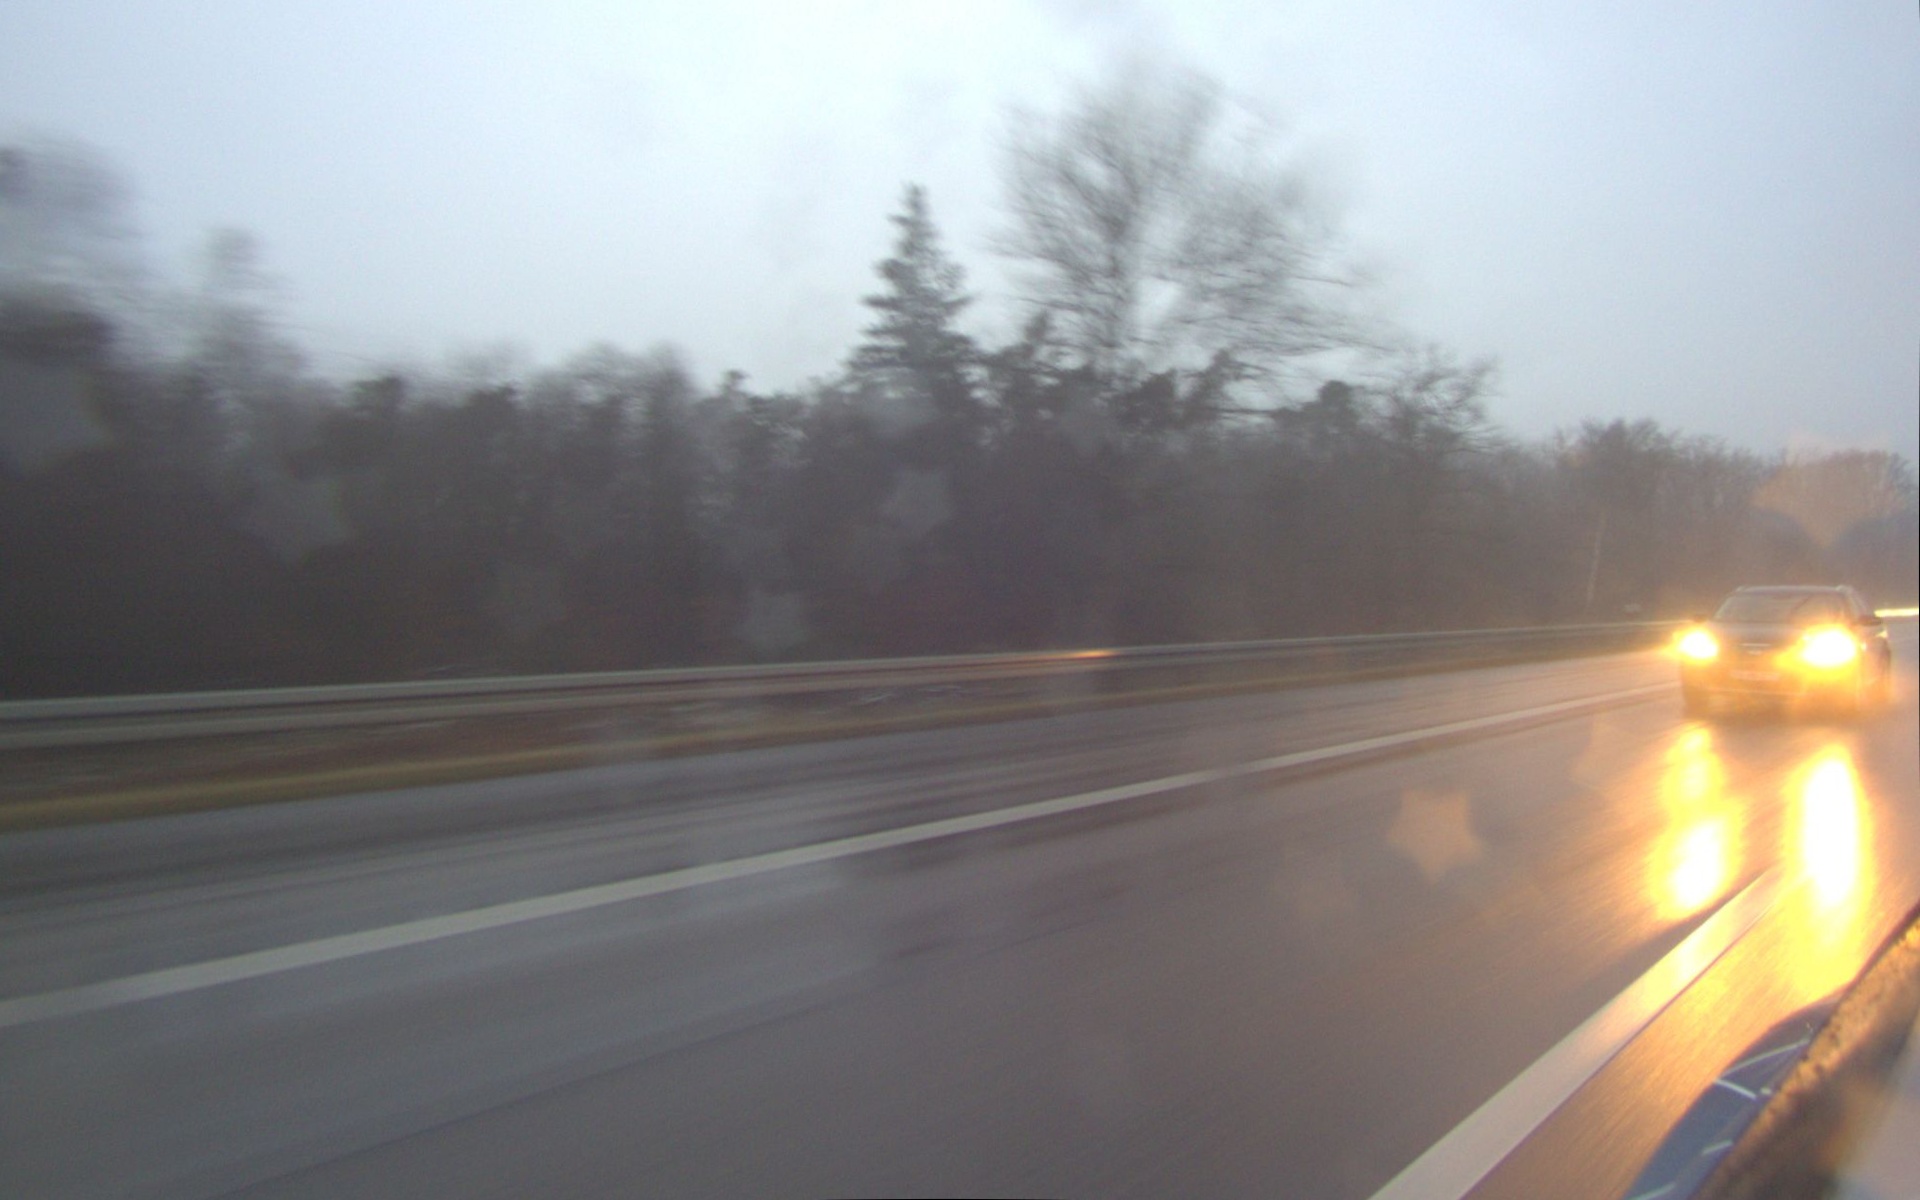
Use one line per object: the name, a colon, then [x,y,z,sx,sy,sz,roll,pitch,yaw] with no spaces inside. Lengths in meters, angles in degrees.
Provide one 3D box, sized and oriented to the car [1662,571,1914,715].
car: [11.830,0.497,14.362,4.383,1.719,2.074,0,1,-41]
